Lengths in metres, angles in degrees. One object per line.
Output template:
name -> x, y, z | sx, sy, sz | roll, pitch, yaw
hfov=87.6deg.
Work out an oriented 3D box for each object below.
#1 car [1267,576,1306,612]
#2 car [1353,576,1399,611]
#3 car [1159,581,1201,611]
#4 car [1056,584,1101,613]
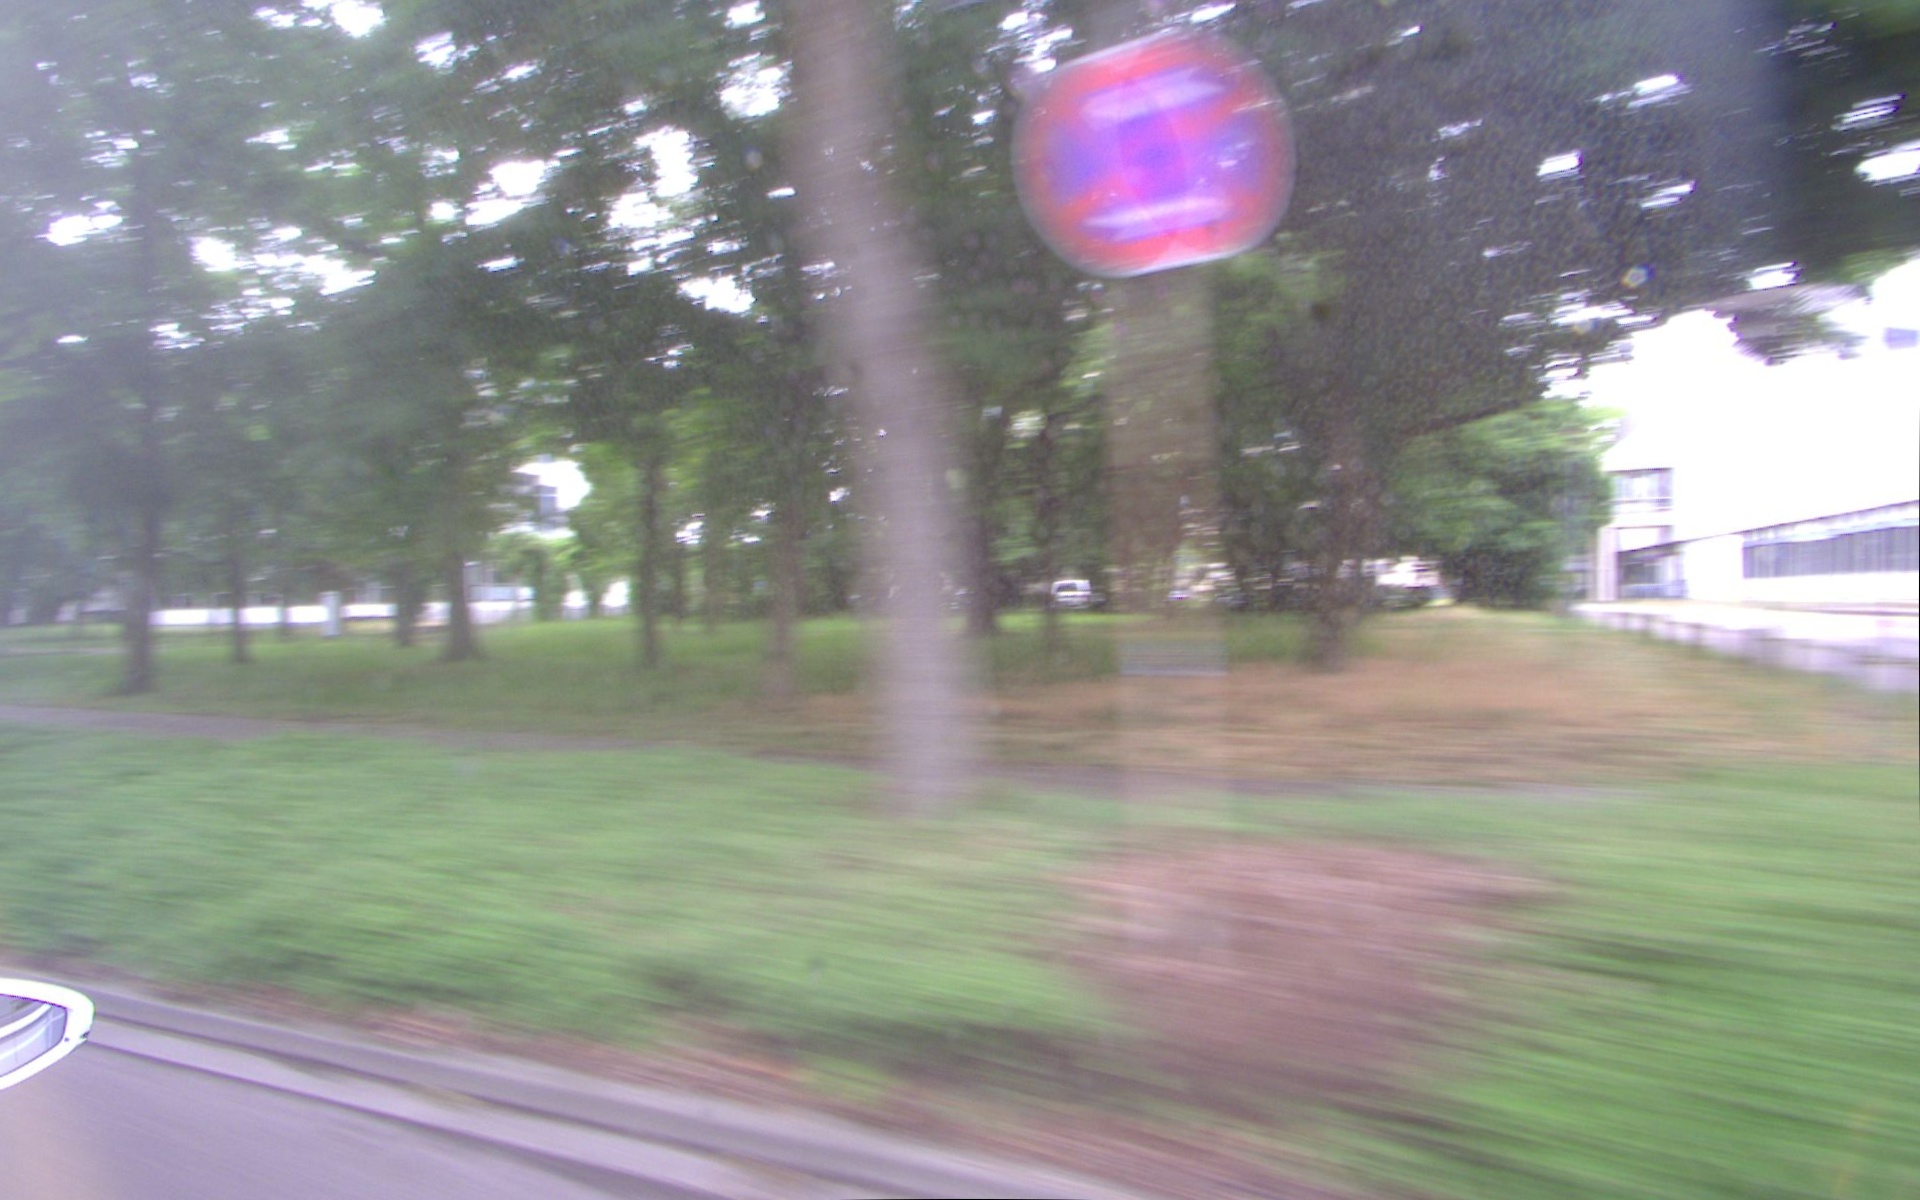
car -> 18.032, -0.290, 55.331 | 1.964, 1.817, 3.994 | -1, -1, 18
car -> 22.232, -0.326, 53.629 | 1.964, 1.785, 3.993 | -1, 0, 18
car -> 12.638, -0.240, 57.321 | 1.964, 1.639, 3.992 | -1, 0, 18
car -> 7.142, -0.091, 60.033 | 1.889, 1.639, 3.992 | -1, 0, 18
